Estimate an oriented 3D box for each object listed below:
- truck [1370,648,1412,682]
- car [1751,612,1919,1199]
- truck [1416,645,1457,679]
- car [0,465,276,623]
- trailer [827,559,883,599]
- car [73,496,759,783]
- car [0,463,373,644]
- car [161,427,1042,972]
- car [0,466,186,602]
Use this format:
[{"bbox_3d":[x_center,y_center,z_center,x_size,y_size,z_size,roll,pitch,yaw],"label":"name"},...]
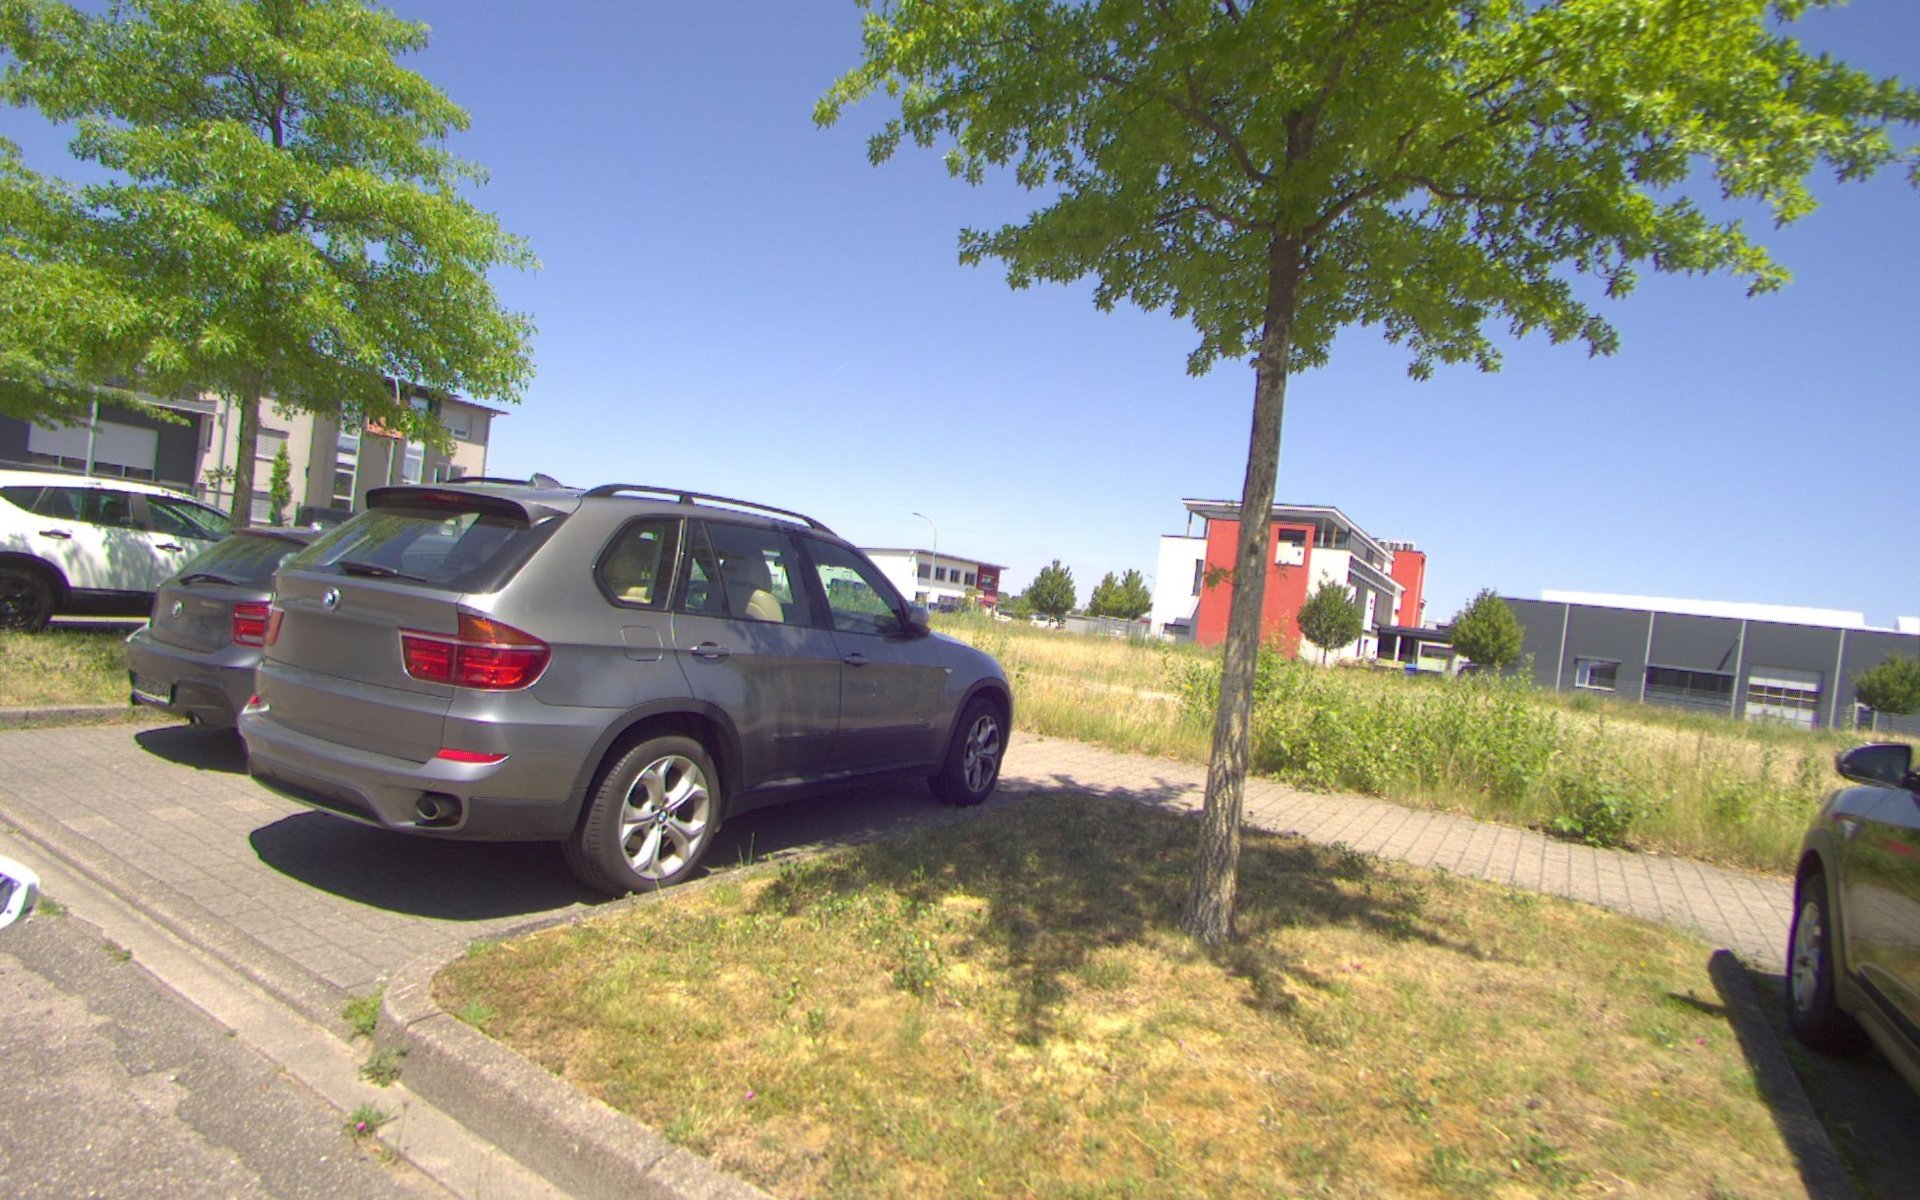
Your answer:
[{"bbox_3d":[30.268,4.600,70.616,1.967,2.038,4.348,7,0,31],"label":"truck"},{"bbox_3d":[3.468,0.970,2.408,1.752,1.718,4.176,7,2,31],"label":"car"},{"bbox_3d":[33.108,4.317,69.867,1.966,2.039,3.991,8,1,31],"label":"truck"},{"bbox_3d":[-11.025,-0.711,12.246,1.807,1.665,3.990,7,1,31],"label":"car"},{"bbox_3d":[-8.242,-1.662,79.537,2.195,2.632,3.992,8,1,30],"label":"trailer"},{"bbox_3d":[-3.569,0.262,7.336,1.878,1.427,3.926,6,0,31],"label":"car"},{"bbox_3d":[-8.968,-0.466,10.868,1.870,1.628,4.069,6,1,33],"label":"car"},{"bbox_3d":[-1.445,0.349,5.782,1.959,1.791,4.453,7,2,30],"label":"car"},{"bbox_3d":[-13.214,-0.991,13.313,1.820,1.665,4.281,7,1,32],"label":"car"}]
